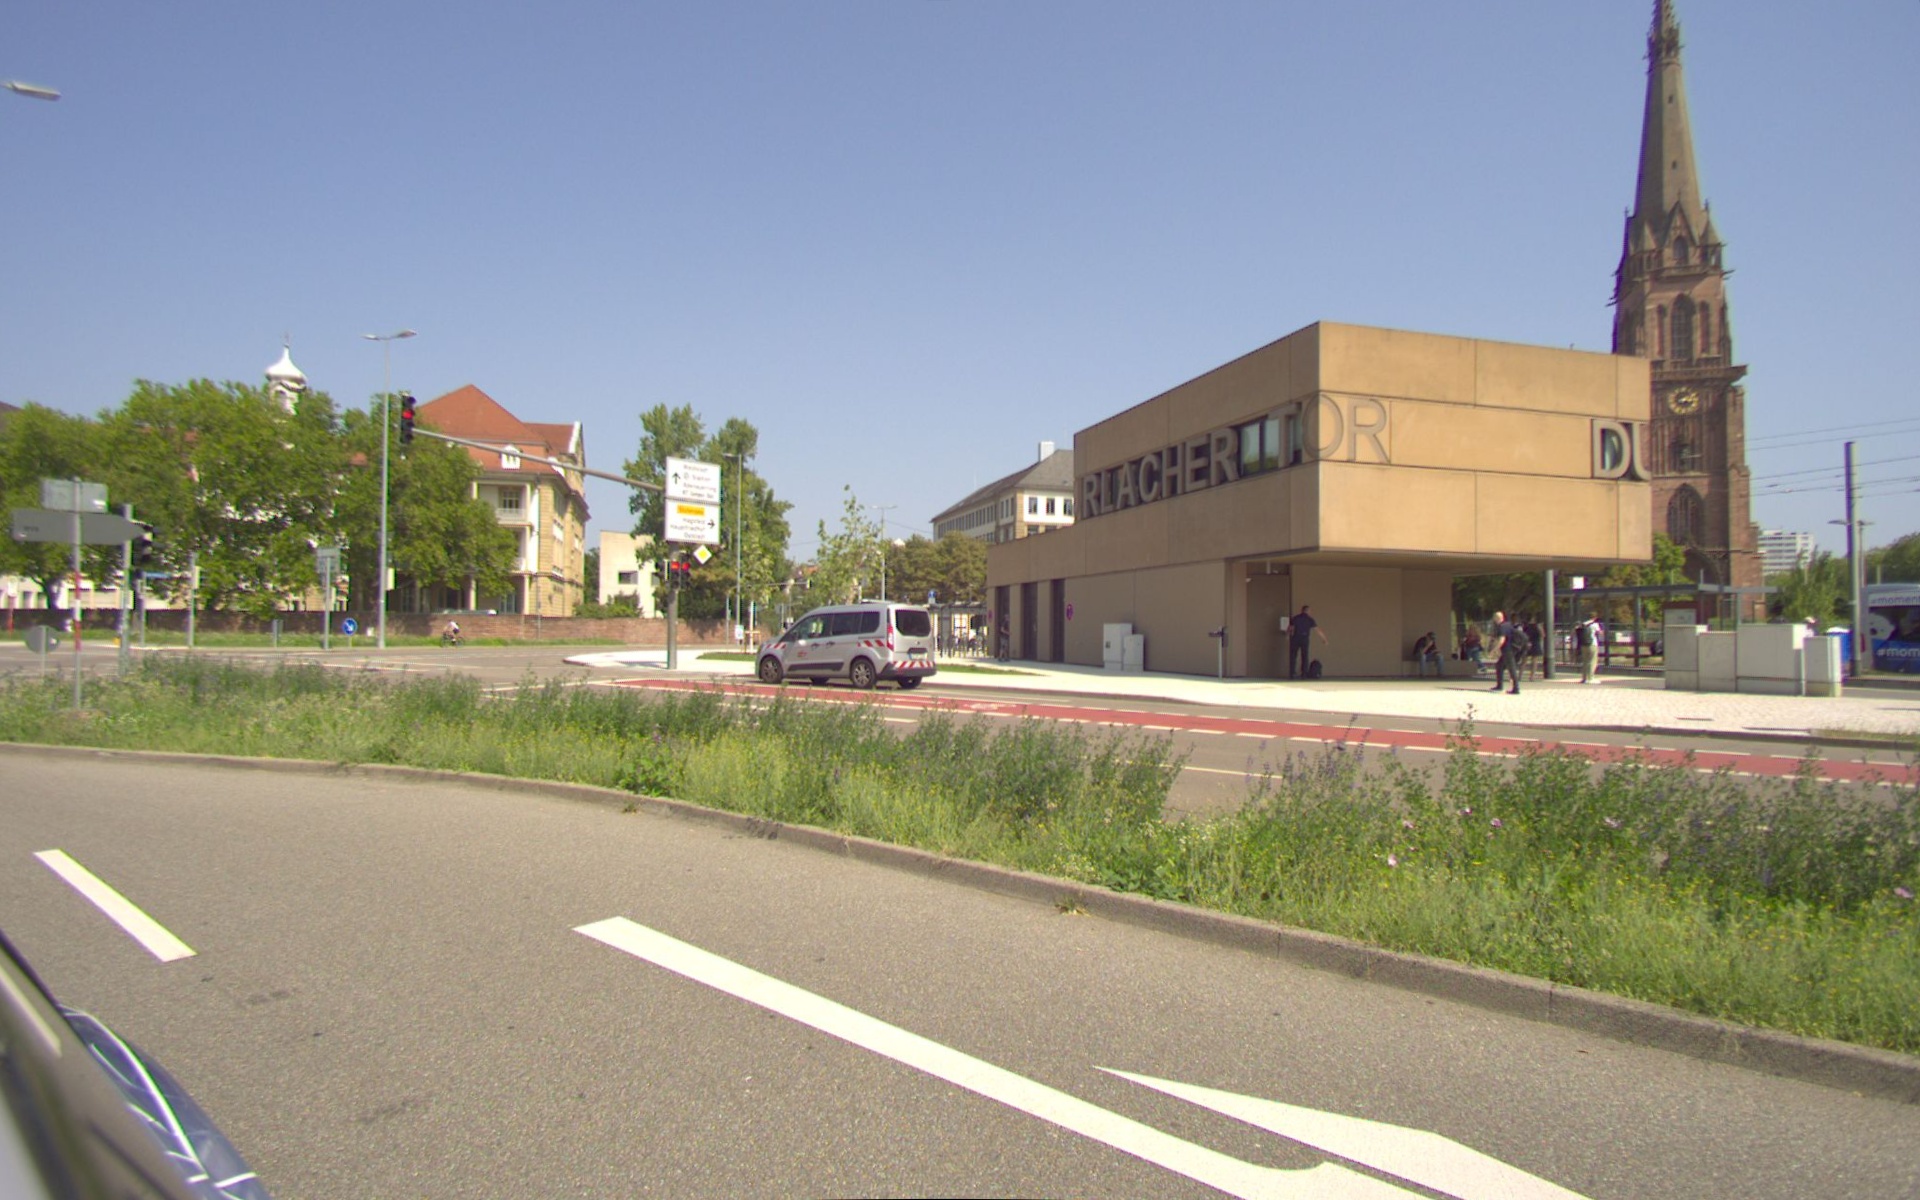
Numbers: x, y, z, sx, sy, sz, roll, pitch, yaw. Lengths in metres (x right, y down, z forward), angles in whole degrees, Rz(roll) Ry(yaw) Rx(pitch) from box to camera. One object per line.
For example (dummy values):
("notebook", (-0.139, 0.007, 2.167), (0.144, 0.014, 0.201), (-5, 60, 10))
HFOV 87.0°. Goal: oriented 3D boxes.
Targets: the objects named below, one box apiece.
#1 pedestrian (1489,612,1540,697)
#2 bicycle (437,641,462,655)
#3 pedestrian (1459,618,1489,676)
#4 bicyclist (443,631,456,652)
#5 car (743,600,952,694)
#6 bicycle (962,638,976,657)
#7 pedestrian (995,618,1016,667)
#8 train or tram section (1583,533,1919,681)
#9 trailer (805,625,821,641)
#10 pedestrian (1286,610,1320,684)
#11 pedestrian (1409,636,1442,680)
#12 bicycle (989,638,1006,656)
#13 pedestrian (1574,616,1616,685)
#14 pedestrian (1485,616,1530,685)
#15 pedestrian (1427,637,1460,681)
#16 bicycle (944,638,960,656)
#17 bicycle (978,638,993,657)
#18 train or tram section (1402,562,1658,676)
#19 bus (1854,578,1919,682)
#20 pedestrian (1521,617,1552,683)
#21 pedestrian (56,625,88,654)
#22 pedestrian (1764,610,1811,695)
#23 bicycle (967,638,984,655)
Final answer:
("pedestrian", (11.490, 1.123, 20.984), (0.809, 1.715, 0.638), (-1, -3, 40))
("bicycle", (-29.560, 2.772, 58.615), (0.433, 0.818, 1.478), (-3, -3, 16))
("pedestrian", (14.575, 1.340, 28.719), (0.483, 1.626, 0.572), (0, -2, -10))
("bicyclist", (-29.556, 2.390, 58.596), (0.429, 1.242, 0.538), (0, -2, 16))
("car", (-2.522, 1.046, 22.291), (4.325, 1.874, 1.976), (-1, -5, 36))
("bicycle", (0.528, 2.741, 58.720), (0.406, 1.048, 1.645), (2, -3, -14))
("pedestrian", (1.596, 1.500, 35.646), (0.559, 1.691, 0.537), (1, -3, -17))
("train or tram section", (22.846, 0.426, 29.201), (3.091, 3.597, 8.268), (3, -4, -17))
("trailer", (-31.154, 6.986, 213.973), (2.400, 3.313, 5.104), (1, -2, -19))
("pedestrian", (8.069, 1.107, 23.839), (0.740, 1.701, 0.629), (0, -2, 17))
("pedestrian", (11.661, 1.455, 25.352), (0.531, 1.092, 0.502), (1, -2, -17))
("bicycle", (2.262, 2.833, 61.518), (0.518, 1.048, 1.775), (2, -3, -14))
("pedestrian", (15.650, 1.237, 24.954), (0.809, 1.682, 0.544), (-1, -3, 40))
("pedestrian", (13.136, 1.212, 24.289), (0.628, 1.626, 0.694), (1, -2, -11))
("pedestrian", (12.191, 1.473, 25.520), (0.531, 1.092, 0.502), (1, -2, -17))
("bicycle", (-0.497, 2.795, 60.520), (0.518, 1.048, 1.775), (2, -3, -14))
("bicycle", (1.479, 2.765, 58.976), (0.406, 1.048, 1.645), (2, -3, -14))
("train or tram section", (20.422, 0.853, 37.069), (3.091, 3.597, 8.268), (3, -4, -17))
("bus", (31.392, 0.787, 26.243), (3.054, 3.094, 12.519), (1, -2, -16))
("pedestrian", (14.269, 1.234, 25.068), (0.485, 1.626, 0.509), (0, -2, 7))
("pedestrian", (-63.340, 2.838, 72.214), (1.217, 2.029, 1.072), (1, -3, -1))
("pedestrian", (17.677, 1.117, 21.629), (0.685, 1.777, 0.553), (2, -2, -30))
("bicycle", (0.930, 2.817, 61.419), (0.518, 1.048, 1.775), (2, -3, -14))
